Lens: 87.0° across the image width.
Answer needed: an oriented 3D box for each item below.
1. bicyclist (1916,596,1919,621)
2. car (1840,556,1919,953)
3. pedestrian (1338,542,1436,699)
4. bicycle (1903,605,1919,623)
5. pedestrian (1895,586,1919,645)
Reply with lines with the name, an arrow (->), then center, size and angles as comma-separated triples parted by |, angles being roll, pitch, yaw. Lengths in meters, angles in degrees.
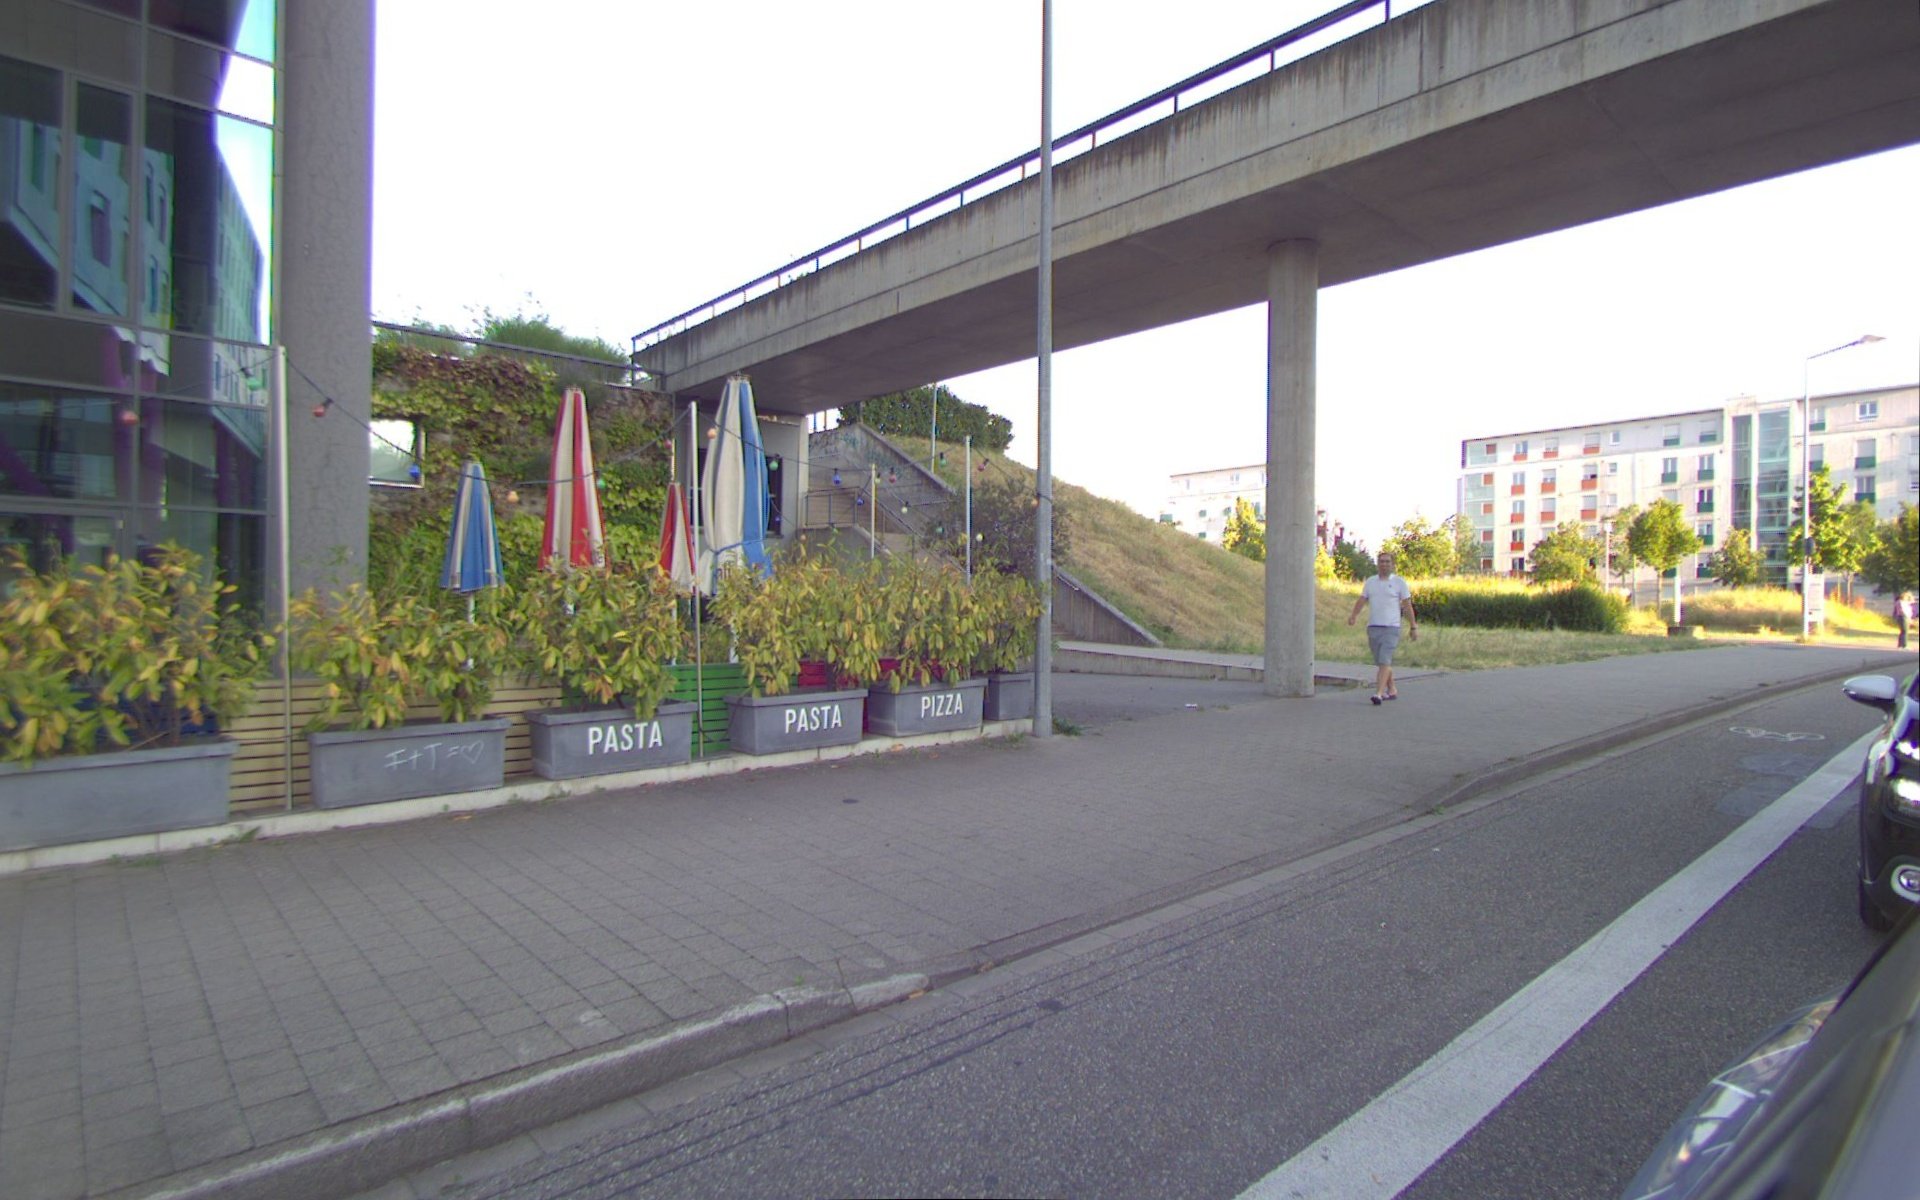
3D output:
bicyclist -> 61.926, 0.572, 64.556 | 0.919, 1.615, 1.063 | 1, 0, 14
car -> 5.492, 0.589, 4.584 | 3.930, 1.482, 1.738 | 0, 0, -41
pedestrian -> 4.999, 0.227, 11.837 | 0.890, 1.746, 0.737 | 1, 0, -40
bicycle -> 62.142, 0.924, 64.779 | 0.886, 1.163, 3.486 | 0, 0, 11
pedestrian -> 27.585, 0.439, 29.186 | 0.844, 1.650, 0.737 | 1, 2, -40
